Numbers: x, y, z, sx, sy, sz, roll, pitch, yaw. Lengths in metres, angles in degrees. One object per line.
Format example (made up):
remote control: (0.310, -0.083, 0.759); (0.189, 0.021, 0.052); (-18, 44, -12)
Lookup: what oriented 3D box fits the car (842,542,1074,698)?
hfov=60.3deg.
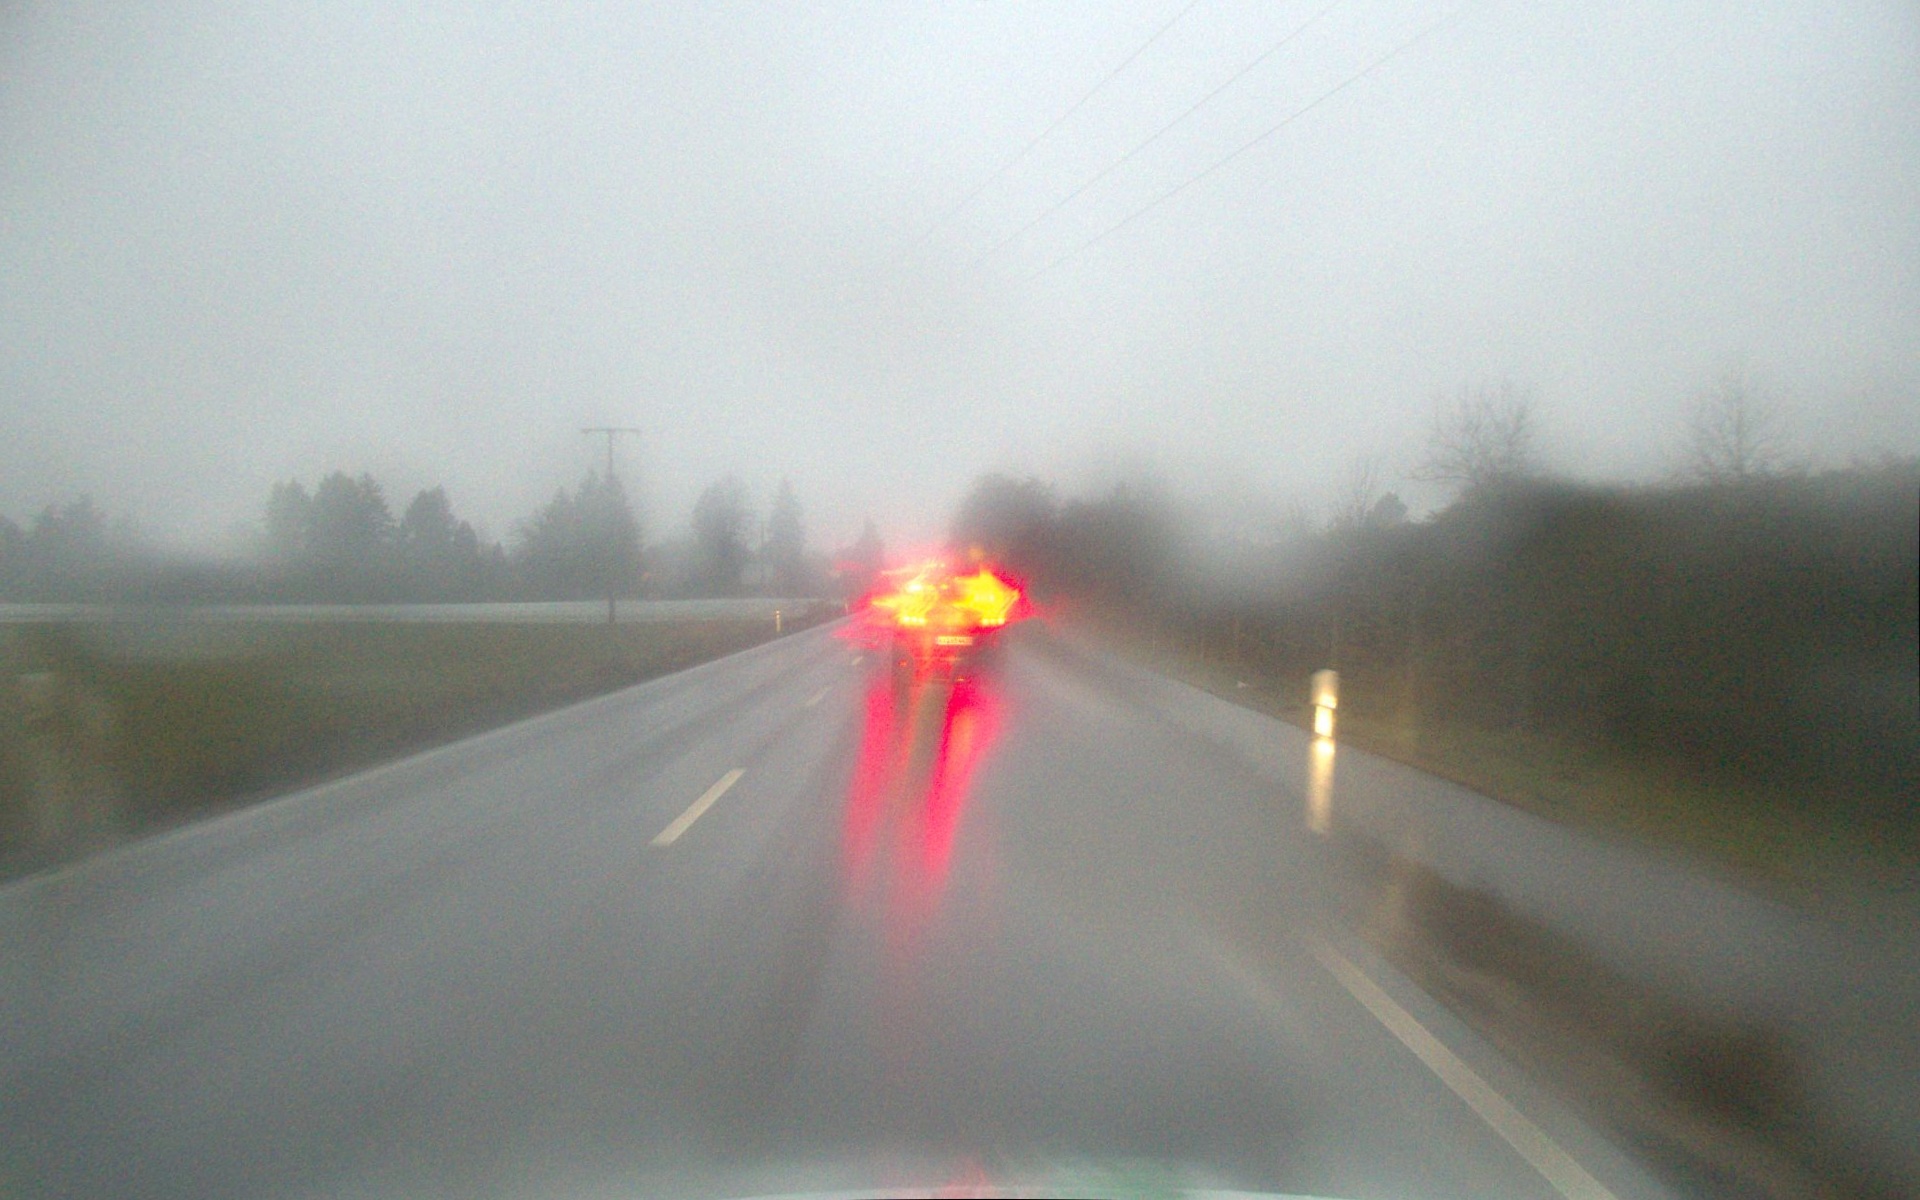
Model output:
car: (-0.042, 0.238, 25.732); (3.100, 2.071, 6.851); (-1, 1, 0)

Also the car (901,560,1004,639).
car: (-0.210, -0.052, 47.171); (2.699, 2.071, 6.590); (-1, 1, 0)
